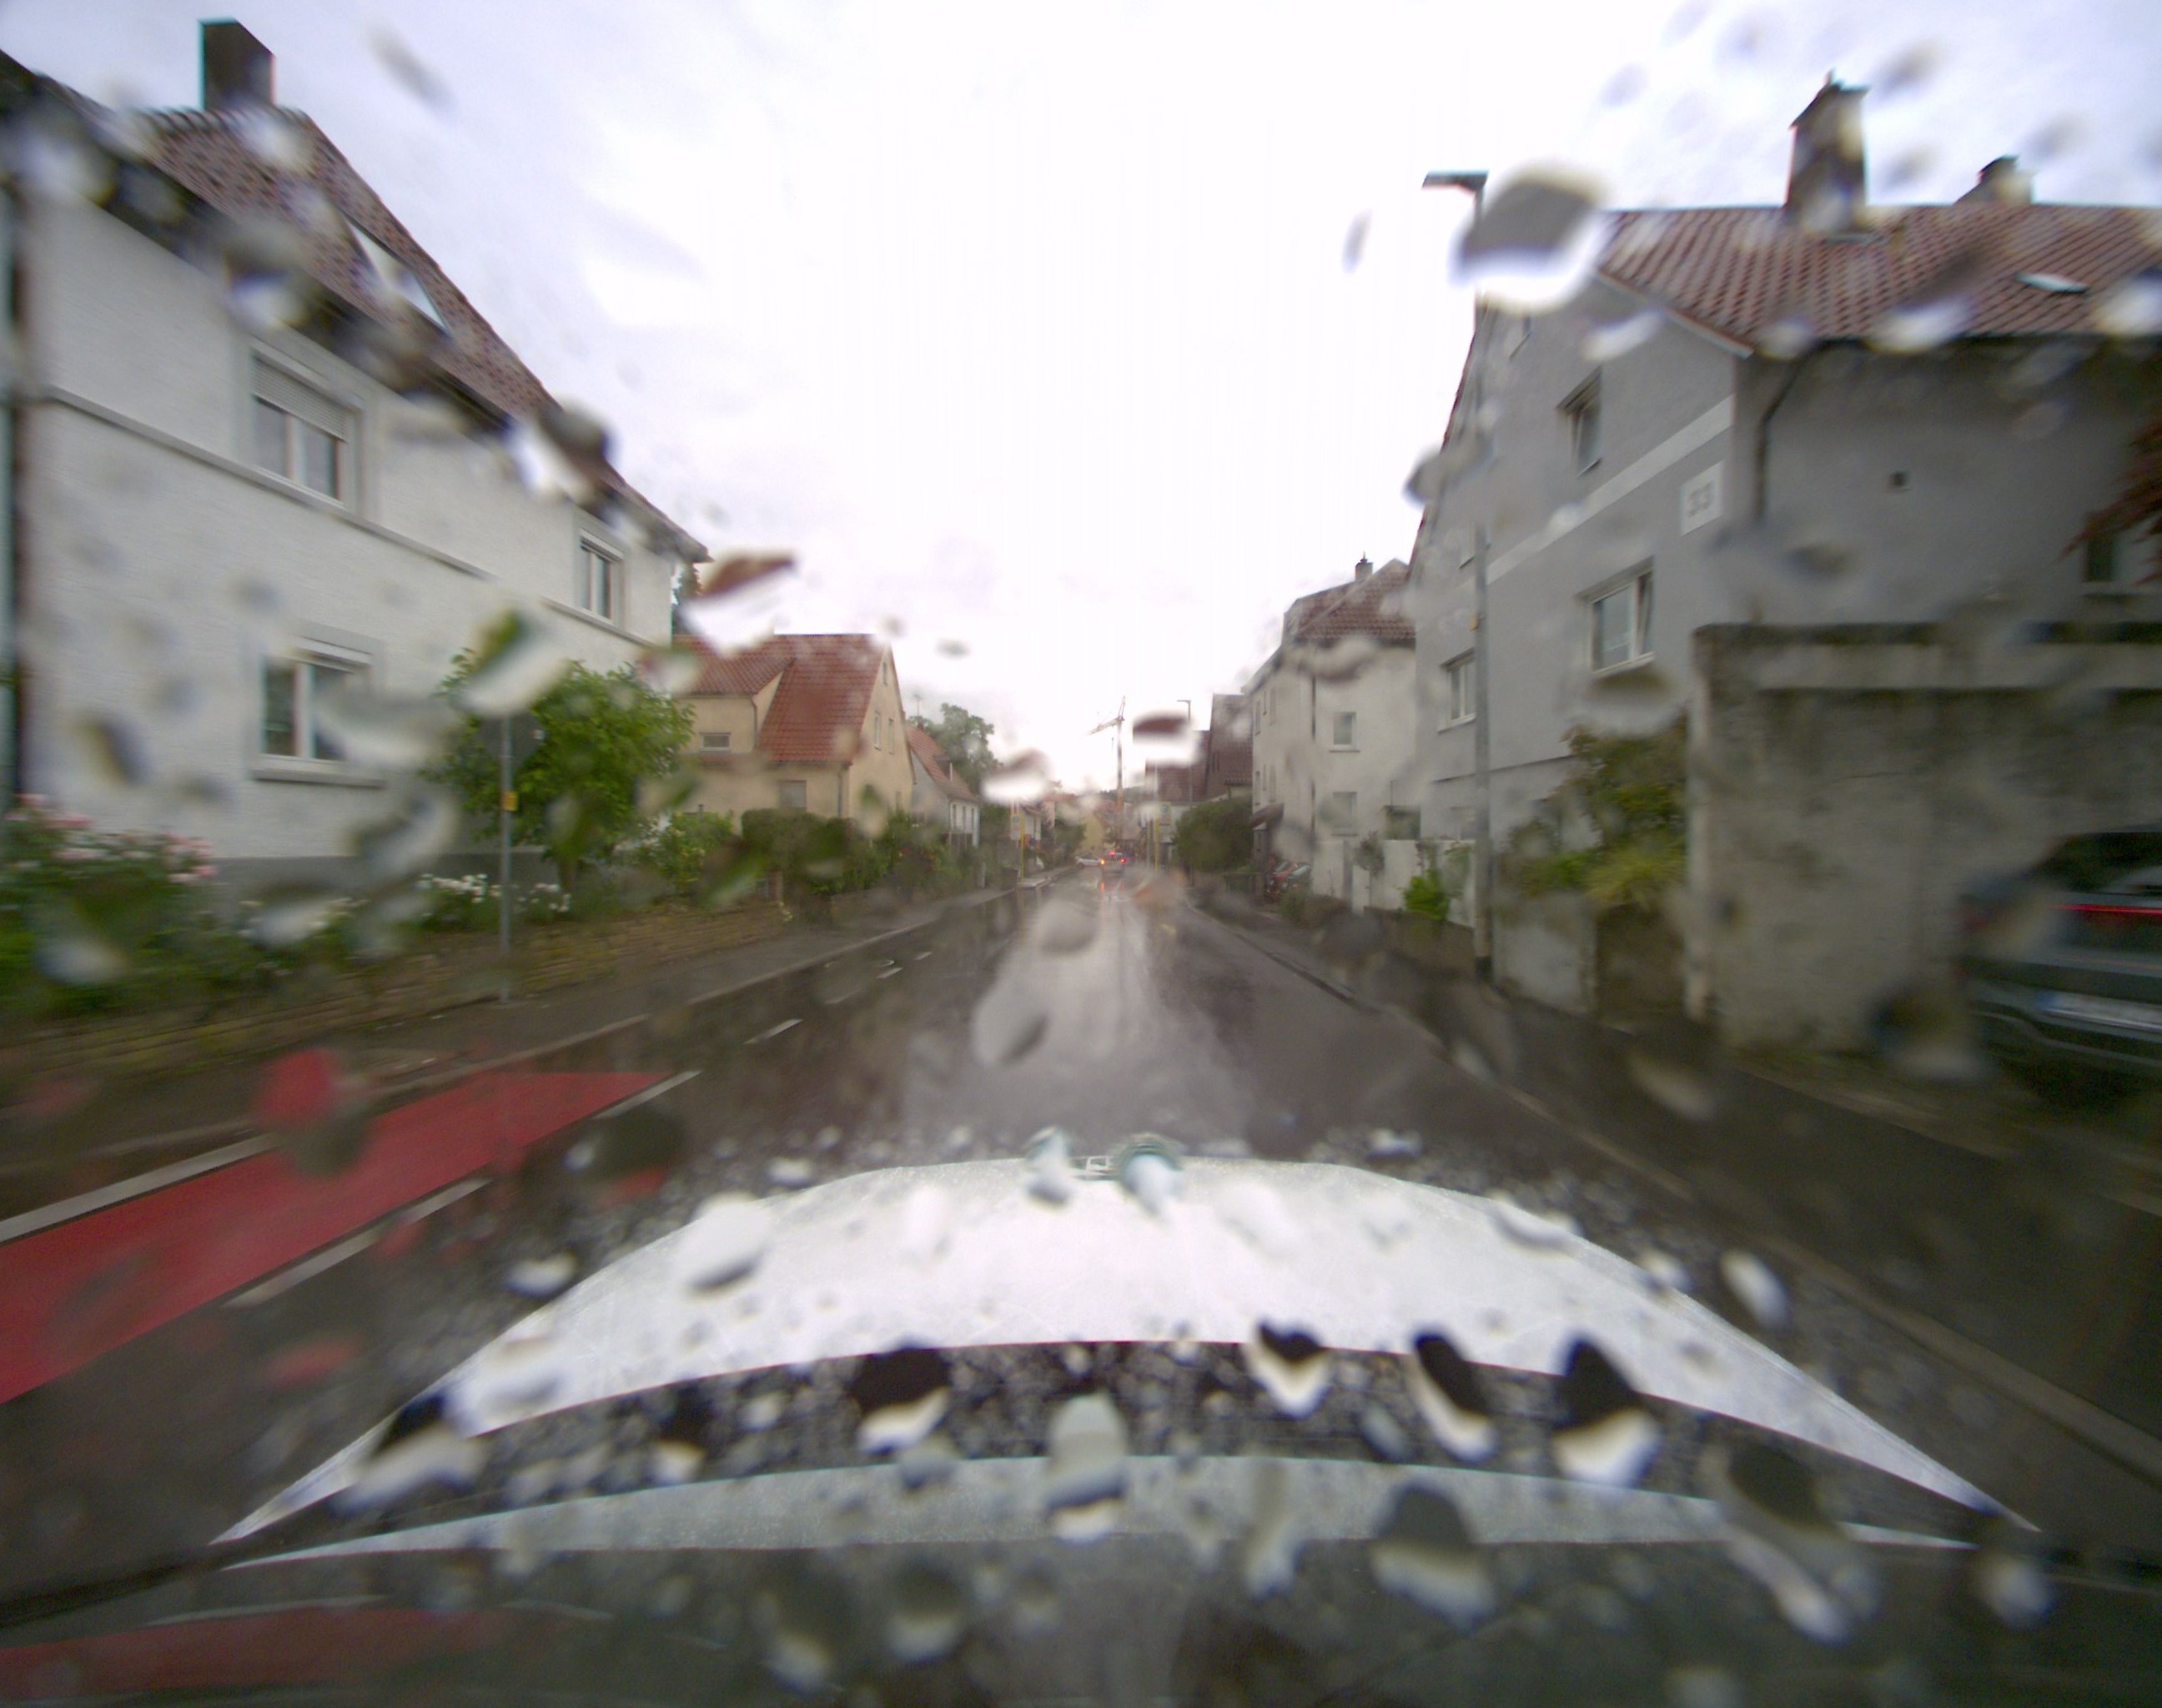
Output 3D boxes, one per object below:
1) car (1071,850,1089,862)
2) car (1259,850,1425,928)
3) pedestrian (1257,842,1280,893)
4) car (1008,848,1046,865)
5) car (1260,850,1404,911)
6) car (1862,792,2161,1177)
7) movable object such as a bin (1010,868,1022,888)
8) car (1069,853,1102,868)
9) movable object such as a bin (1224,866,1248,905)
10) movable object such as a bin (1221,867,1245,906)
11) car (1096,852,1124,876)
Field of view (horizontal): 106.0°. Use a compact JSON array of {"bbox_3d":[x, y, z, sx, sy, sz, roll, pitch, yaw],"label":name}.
[{"bbox_3d":[-0.078,0.319,121.460,1.587,1.677,3.956,1,1,17],"label":"car"},{"bbox_3d":[6.236,0.821,19.718,3.432,1.481,1.581,6,0,1],"label":"car"},{"bbox_3d":[6.467,0.472,28.094,0.626,1.726,0.619,-1,0,2],"label":"pedestrian"},{"bbox_3d":[-5.395,0.235,80.946,3.530,1.529,1.664,2,0,3],"label":"car"},{"bbox_3d":[6.821,0.699,22.390,3.464,1.510,1.581,-2,0,1],"label":"car"},{"bbox_3d":[6.212,0.485,3.704,3.577,1.583,1.818,-2,-1,-2],"label":"car"},{"bbox_3d":[-3.243,1.203,40.694,0.466,0.939,0.455,3,2,4],"label":"movable object such as a bin"},{"bbox_3d":[0.581,0.865,103.848,3.964,1.794,1.808,-1,-1,8],"label":"car"},{"bbox_3d":[4.355,0.889,22.962,0.566,1.077,0.537,-1,0,-1],"label":"movable object such as a bin"},{"bbox_3d":[4.313,0.917,23.062,0.566,1.077,0.537,-1,0,-1],"label":"movable object such as a bin"},{"bbox_3d":[2.391,0.797,66.832,2.173,1.869,4.001,-1,-1,2],"label":"car"}]
